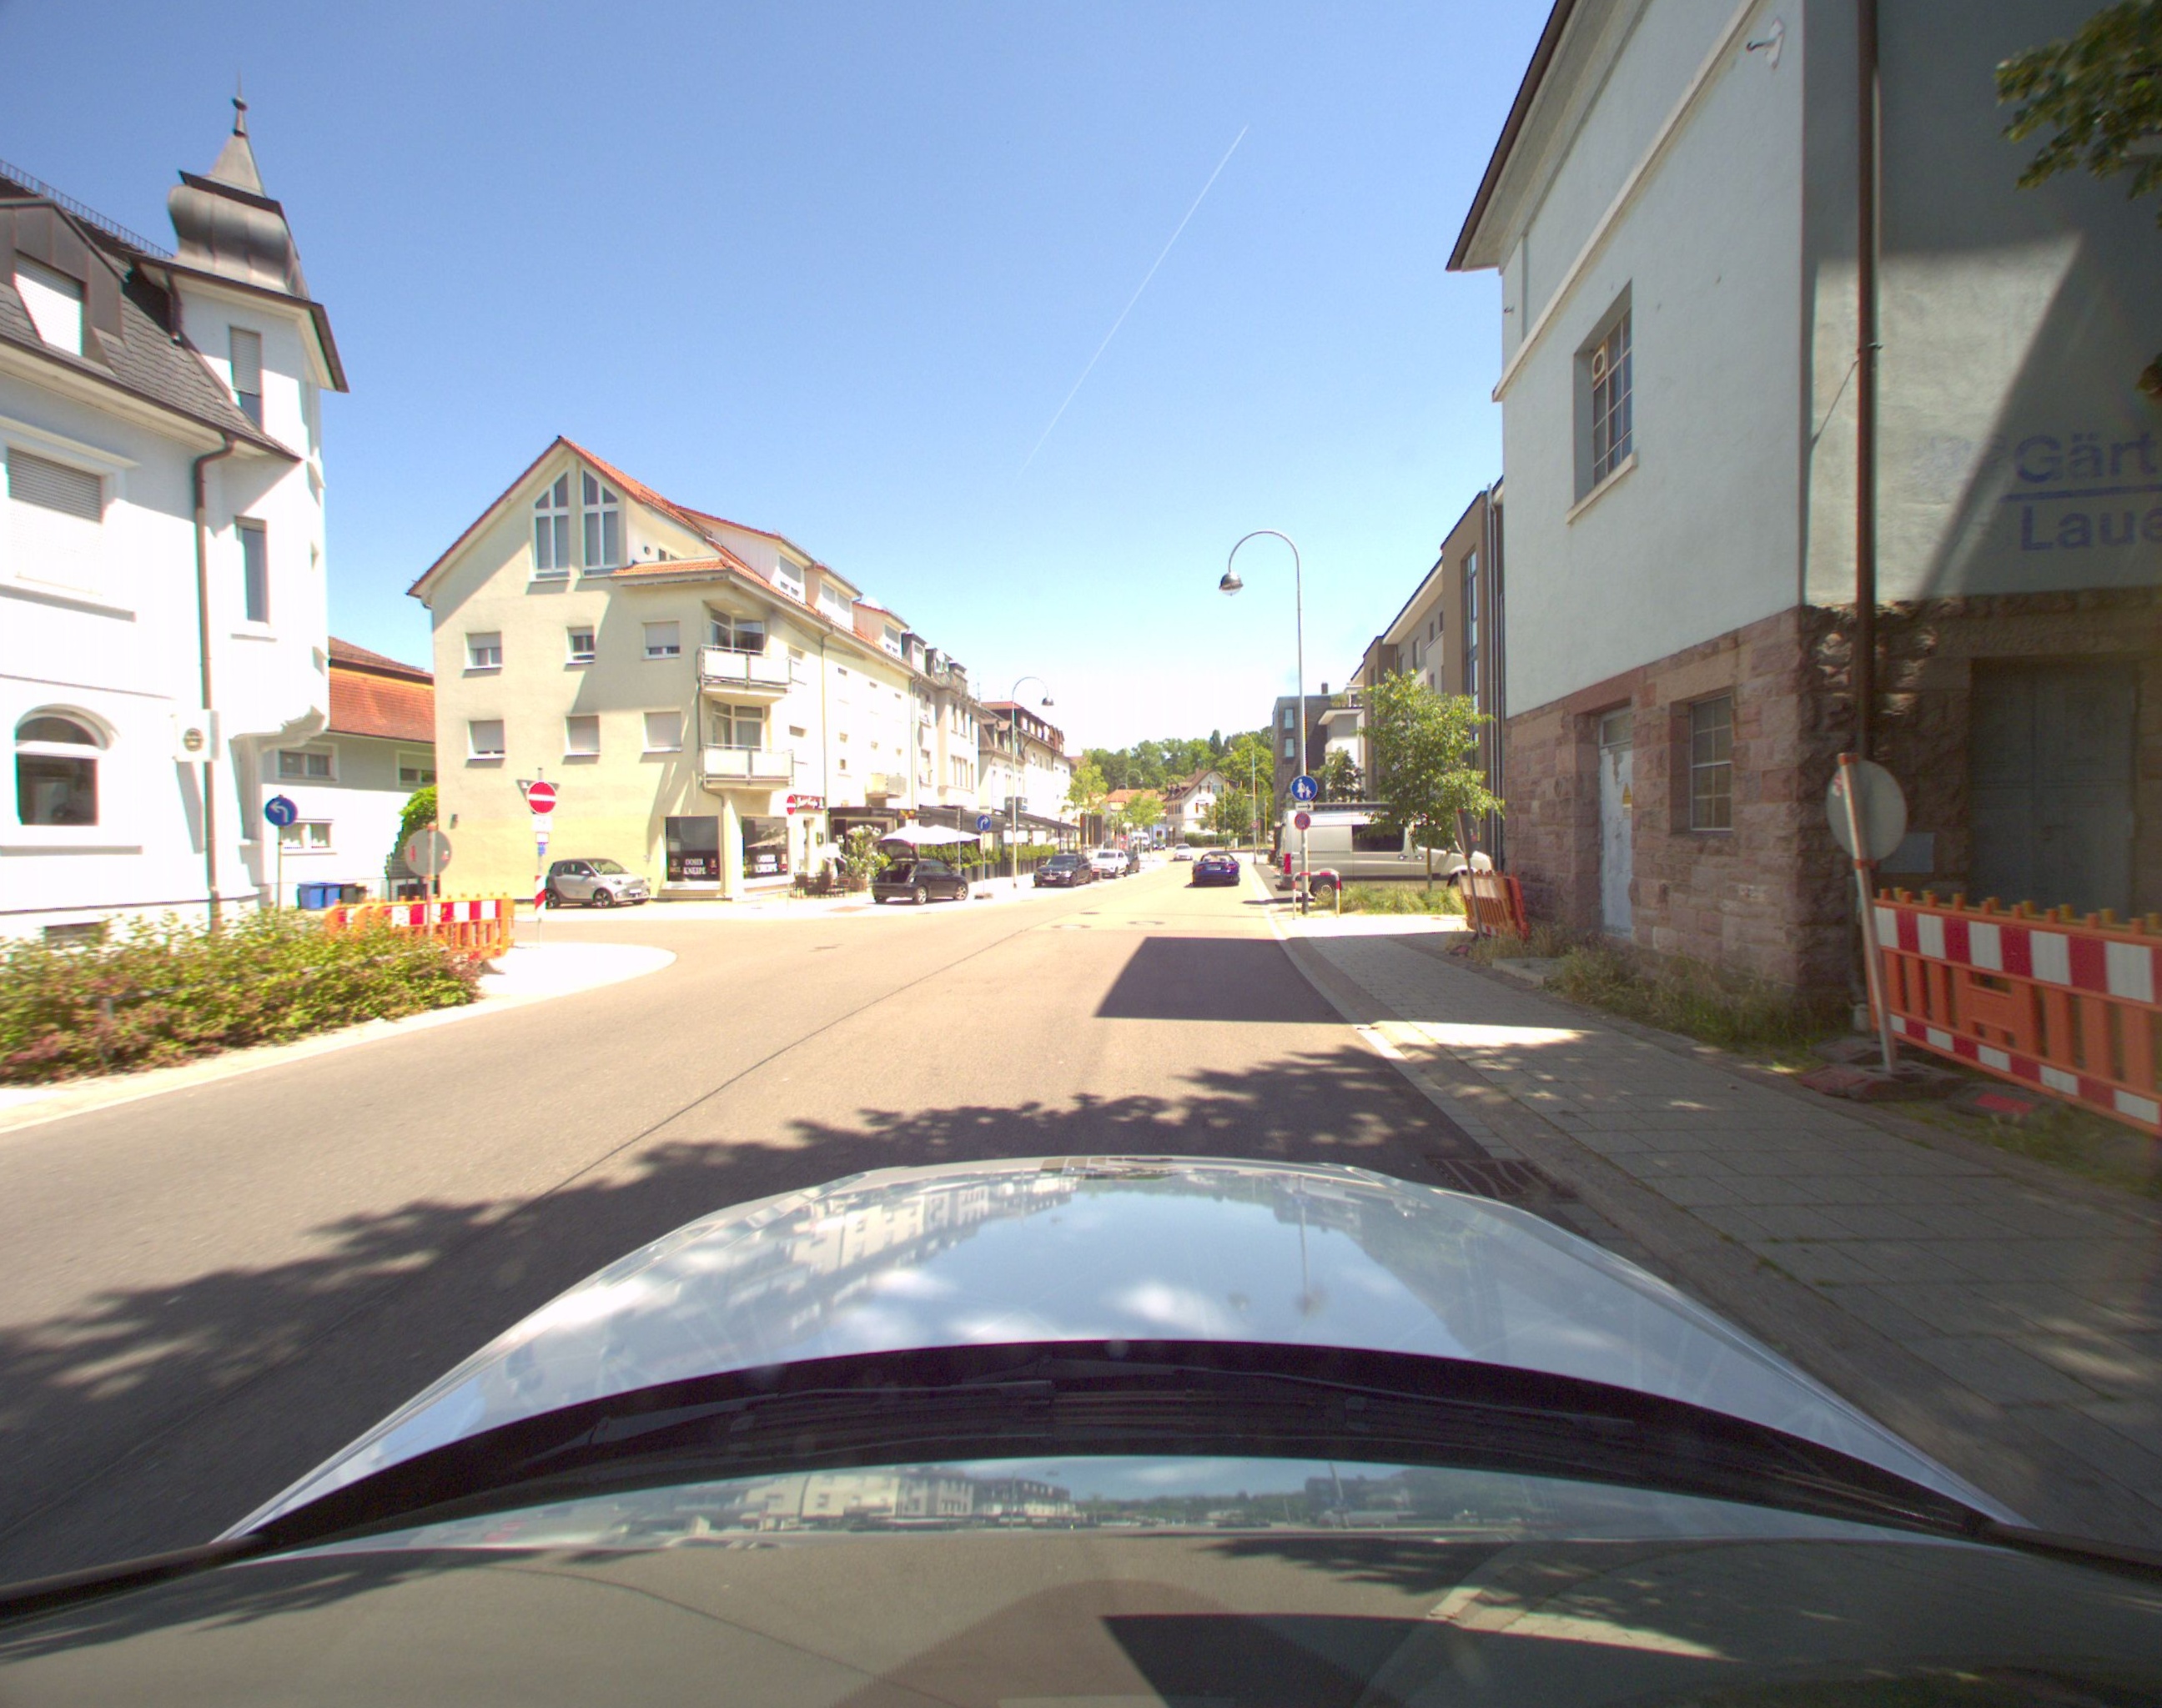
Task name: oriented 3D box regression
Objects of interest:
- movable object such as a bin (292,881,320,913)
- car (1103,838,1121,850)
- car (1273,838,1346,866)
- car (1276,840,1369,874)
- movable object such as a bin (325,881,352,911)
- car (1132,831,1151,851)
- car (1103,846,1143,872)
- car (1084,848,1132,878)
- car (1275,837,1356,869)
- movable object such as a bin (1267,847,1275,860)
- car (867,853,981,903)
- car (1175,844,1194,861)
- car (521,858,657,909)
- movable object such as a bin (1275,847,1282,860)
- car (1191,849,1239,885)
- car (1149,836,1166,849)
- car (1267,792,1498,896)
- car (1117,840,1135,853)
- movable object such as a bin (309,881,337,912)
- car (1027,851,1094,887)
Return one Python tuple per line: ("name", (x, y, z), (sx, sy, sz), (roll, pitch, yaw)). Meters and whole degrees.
("movable object such as a bin", (-30.518, 1.689, 32.059), (0.588, 1.193, 0.543), (-2, 0, 13))
("car", (4.602, -1.555, 122.070), (1.992, 1.692, 3.989), (-1, 1, -8))
("car", (13.292, -0.119, 47.636), (3.955, 1.529, 1.746), (-1, 0, 10))
("car", (11.186, 0.111, 37.945), (3.946, 1.408, 1.862), (-2, 0, 10))
("movable object such as a bin", (-30.259, 1.711, 33.173), (0.588, 1.193, 0.543), (-2, 0, 13))
("car", (7.452, -1.593, 100.625), (1.860, 2.400, 4.818), (-1, 1, 0))
("car", (2.609, 0.307, 49.857), (1.658, 1.443, 4.025), (-1, 1, 14))
("car", (1.538, 0.456, 44.496), (1.632, 1.479, 3.958), (1, 2, 16))
("car", (12.401, -0.053, 43.224), (3.955, 1.605, 1.949), (-1, 0, 10))
("movable object such as a bin", (14.136, -0.044, 60.584), (0.533, 0.929, 0.625), (-3, 0, 12))
("car", (-5.084, 0.724, 26.920), (1.698, 1.460, 4.151), (1, 1, 21))
("car", (9.415, -0.087, 73.996), (1.678, 1.458, 4.066), (-1, -1, 7))
("car", (-15.399, 0.905, 25.571), (3.245, 1.458, 1.695), (-1, 1, 6))
("movable object such as a bin", (14.651, -0.030, 60.475), (0.491, 0.929, 0.625), (-3, 0, 12))
("car", (5.614, 0.520, 34.605), (1.860, 1.342, 4.606), (-1, 1, 8))
("car", (10.181, -1.540, 108.654), (1.658, 1.606, 3.994), (-3, 0, -4))
("car", (8.414, -0.246, 23.316), (5.902, 2.732, 2.203), (-1, 0, 11))
("car", (6.024, -1.027, 109.779), (1.988, 1.738, 3.997), (-1, 0, -2))
("movable object such as a bin", (-30.367, 1.700, 32.627), (0.588, 1.193, 0.543), (-2, 0, 13))
("car", (-0.844, 0.636, 36.917), (1.821, 1.429, 4.801), (0, 1, 14))
